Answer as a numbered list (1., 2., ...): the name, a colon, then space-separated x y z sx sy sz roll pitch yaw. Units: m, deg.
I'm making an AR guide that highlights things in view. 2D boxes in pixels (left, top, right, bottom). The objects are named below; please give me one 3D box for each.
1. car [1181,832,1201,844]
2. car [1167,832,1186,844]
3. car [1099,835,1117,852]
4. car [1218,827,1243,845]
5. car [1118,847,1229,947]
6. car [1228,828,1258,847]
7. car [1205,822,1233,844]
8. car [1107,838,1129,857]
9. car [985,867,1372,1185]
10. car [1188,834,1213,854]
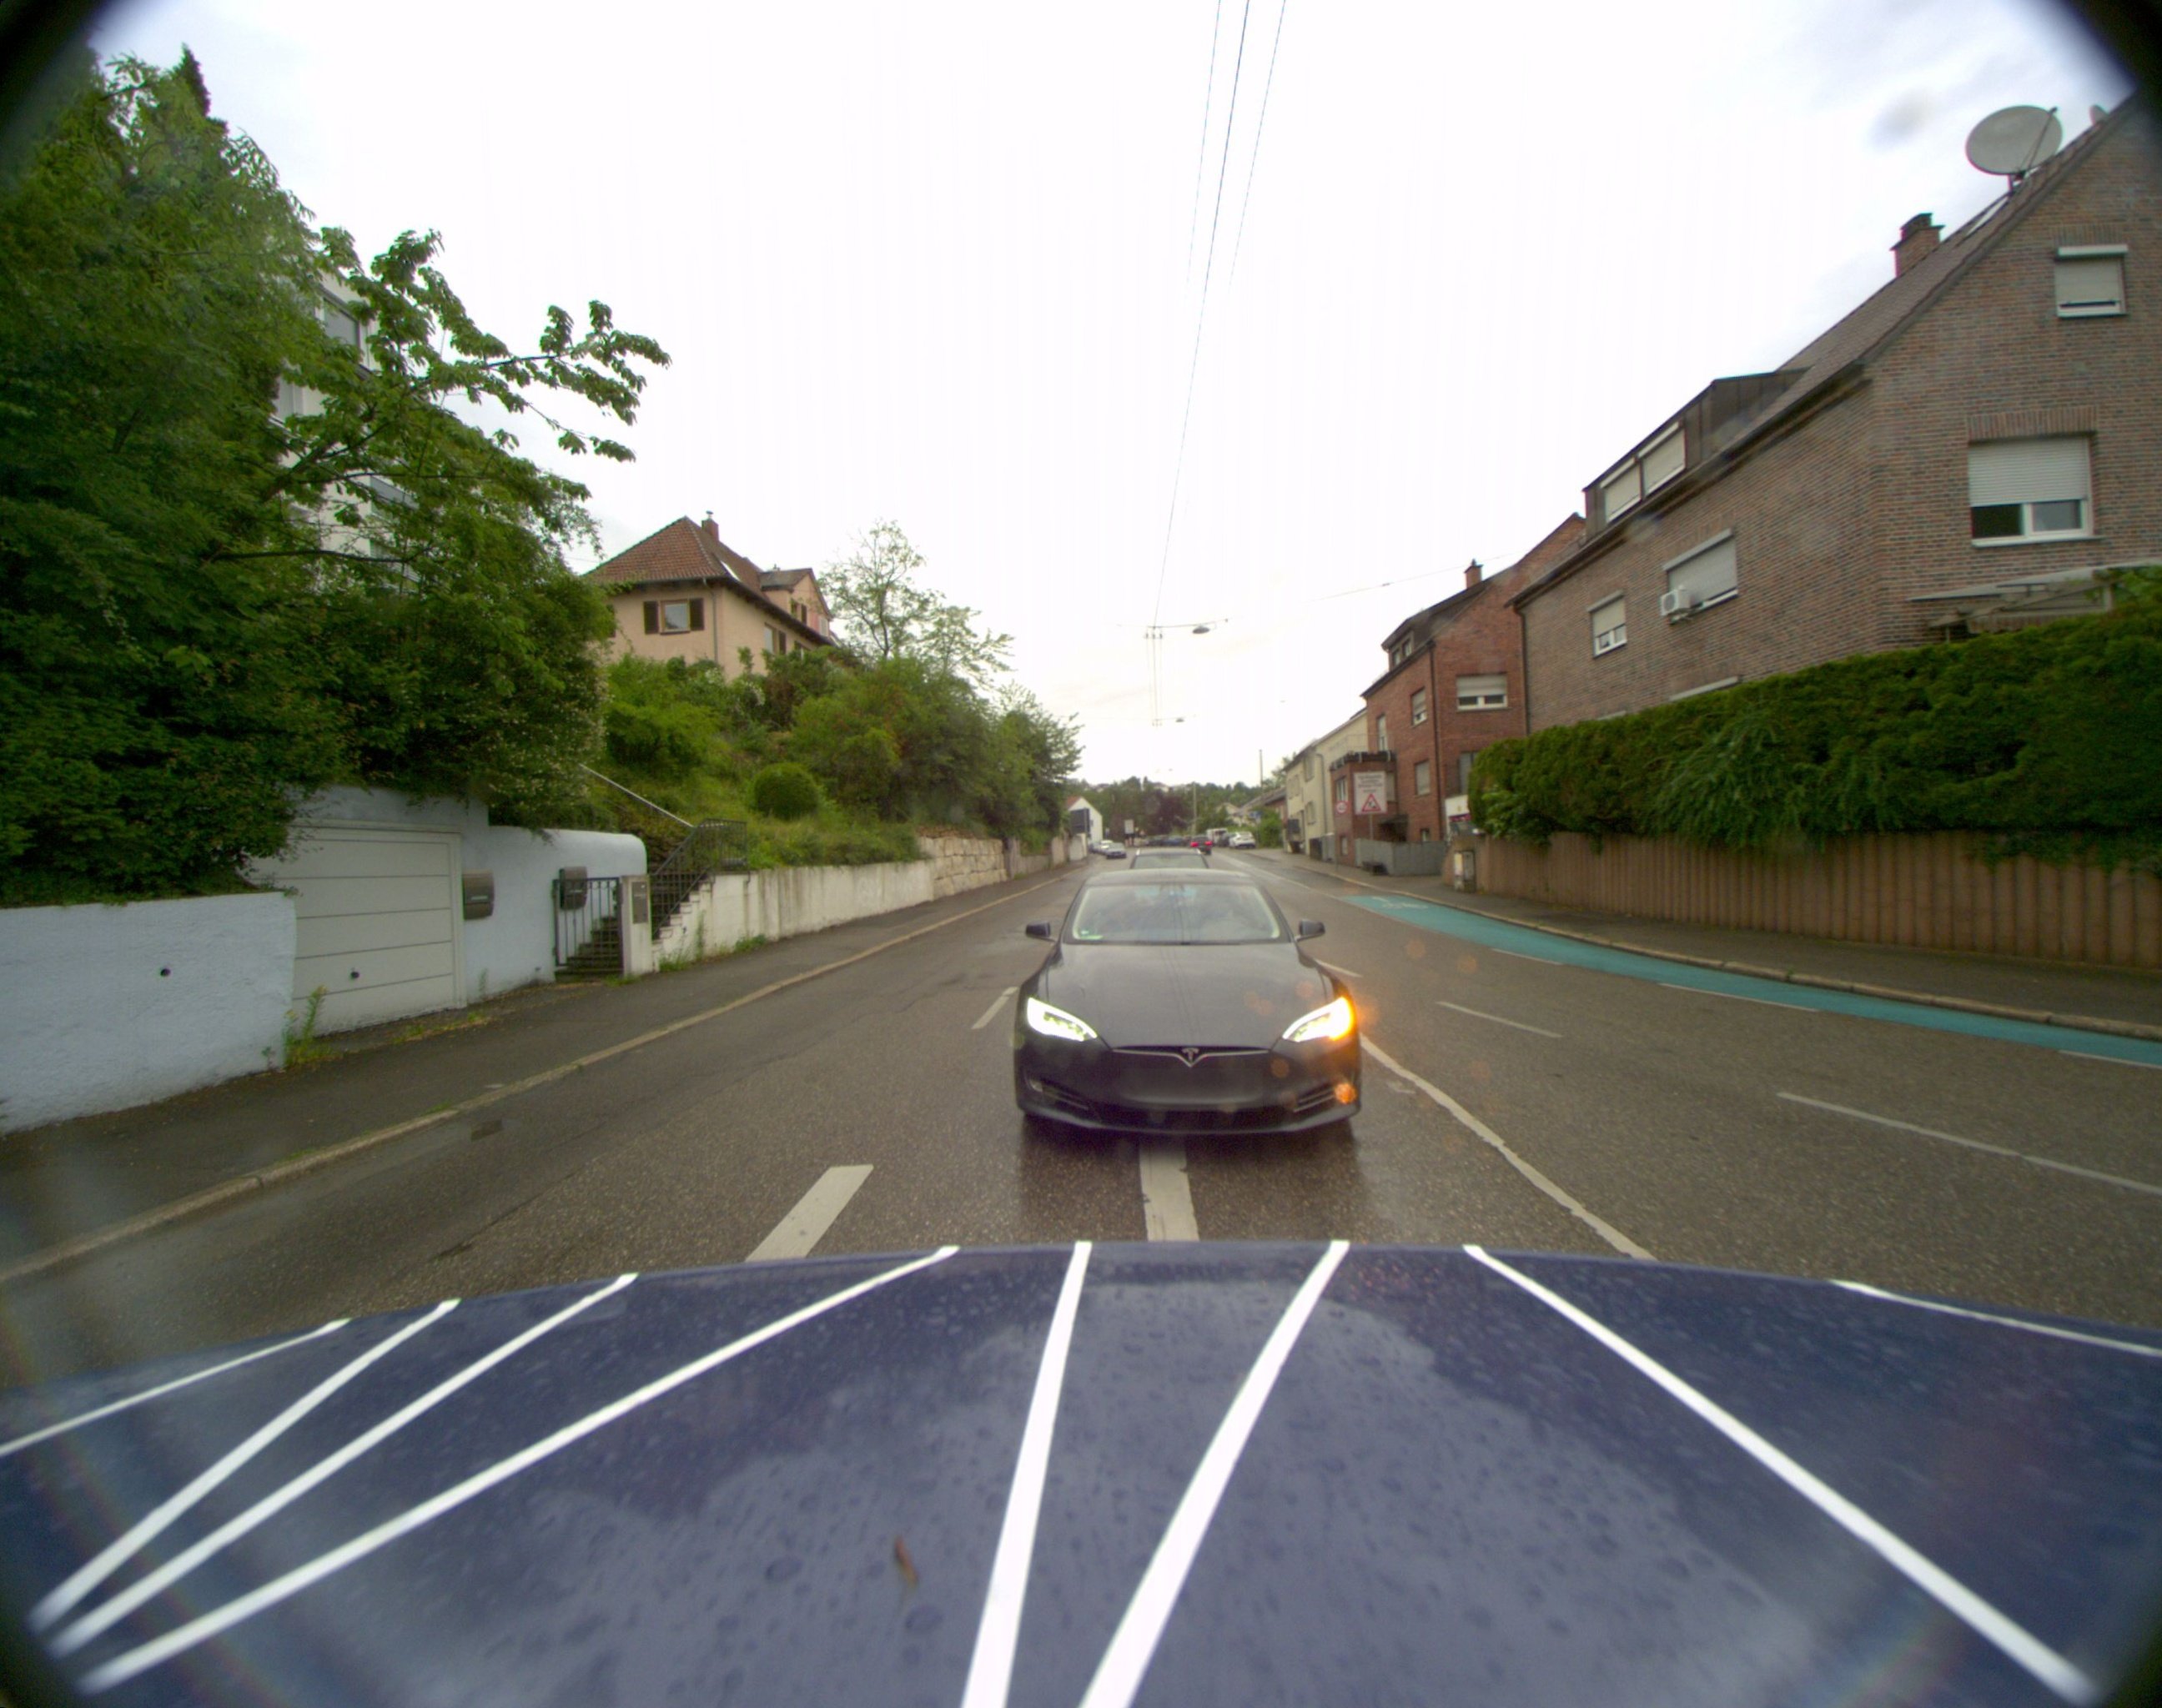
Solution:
1. car: 14.039 -2.057 97.441 1.654 1.388 3.859 -4 1 -4
2. car: 12.877 -2.092 102.633 1.624 1.482 3.901 -4 1 -4
3. car: 3.160 -1.267 89.118 1.820 1.855 4.038 -2 2 -1
4. car: 15.701 -1.894 80.100 1.814 1.793 4.263 -4 1 2
5. car: 1.682 0.698 14.535 1.789 1.580 3.784 -2 1 4
6. car: 15.335 -1.544 71.952 1.946 1.557 4.263 -4 1 2
7. car: 15.589 -2.323 86.130 2.257 2.273 4.546 -4 1 0
8. car: 3.625 -0.609 73.155 2.002 1.596 4.360 -2 -1 4
9. car: 0.622 0.904 5.763 1.870 1.407 4.000 -2 1 4
10. car: 10.486 -0.910 66.791 1.853 1.671 4.172 0 2 4
